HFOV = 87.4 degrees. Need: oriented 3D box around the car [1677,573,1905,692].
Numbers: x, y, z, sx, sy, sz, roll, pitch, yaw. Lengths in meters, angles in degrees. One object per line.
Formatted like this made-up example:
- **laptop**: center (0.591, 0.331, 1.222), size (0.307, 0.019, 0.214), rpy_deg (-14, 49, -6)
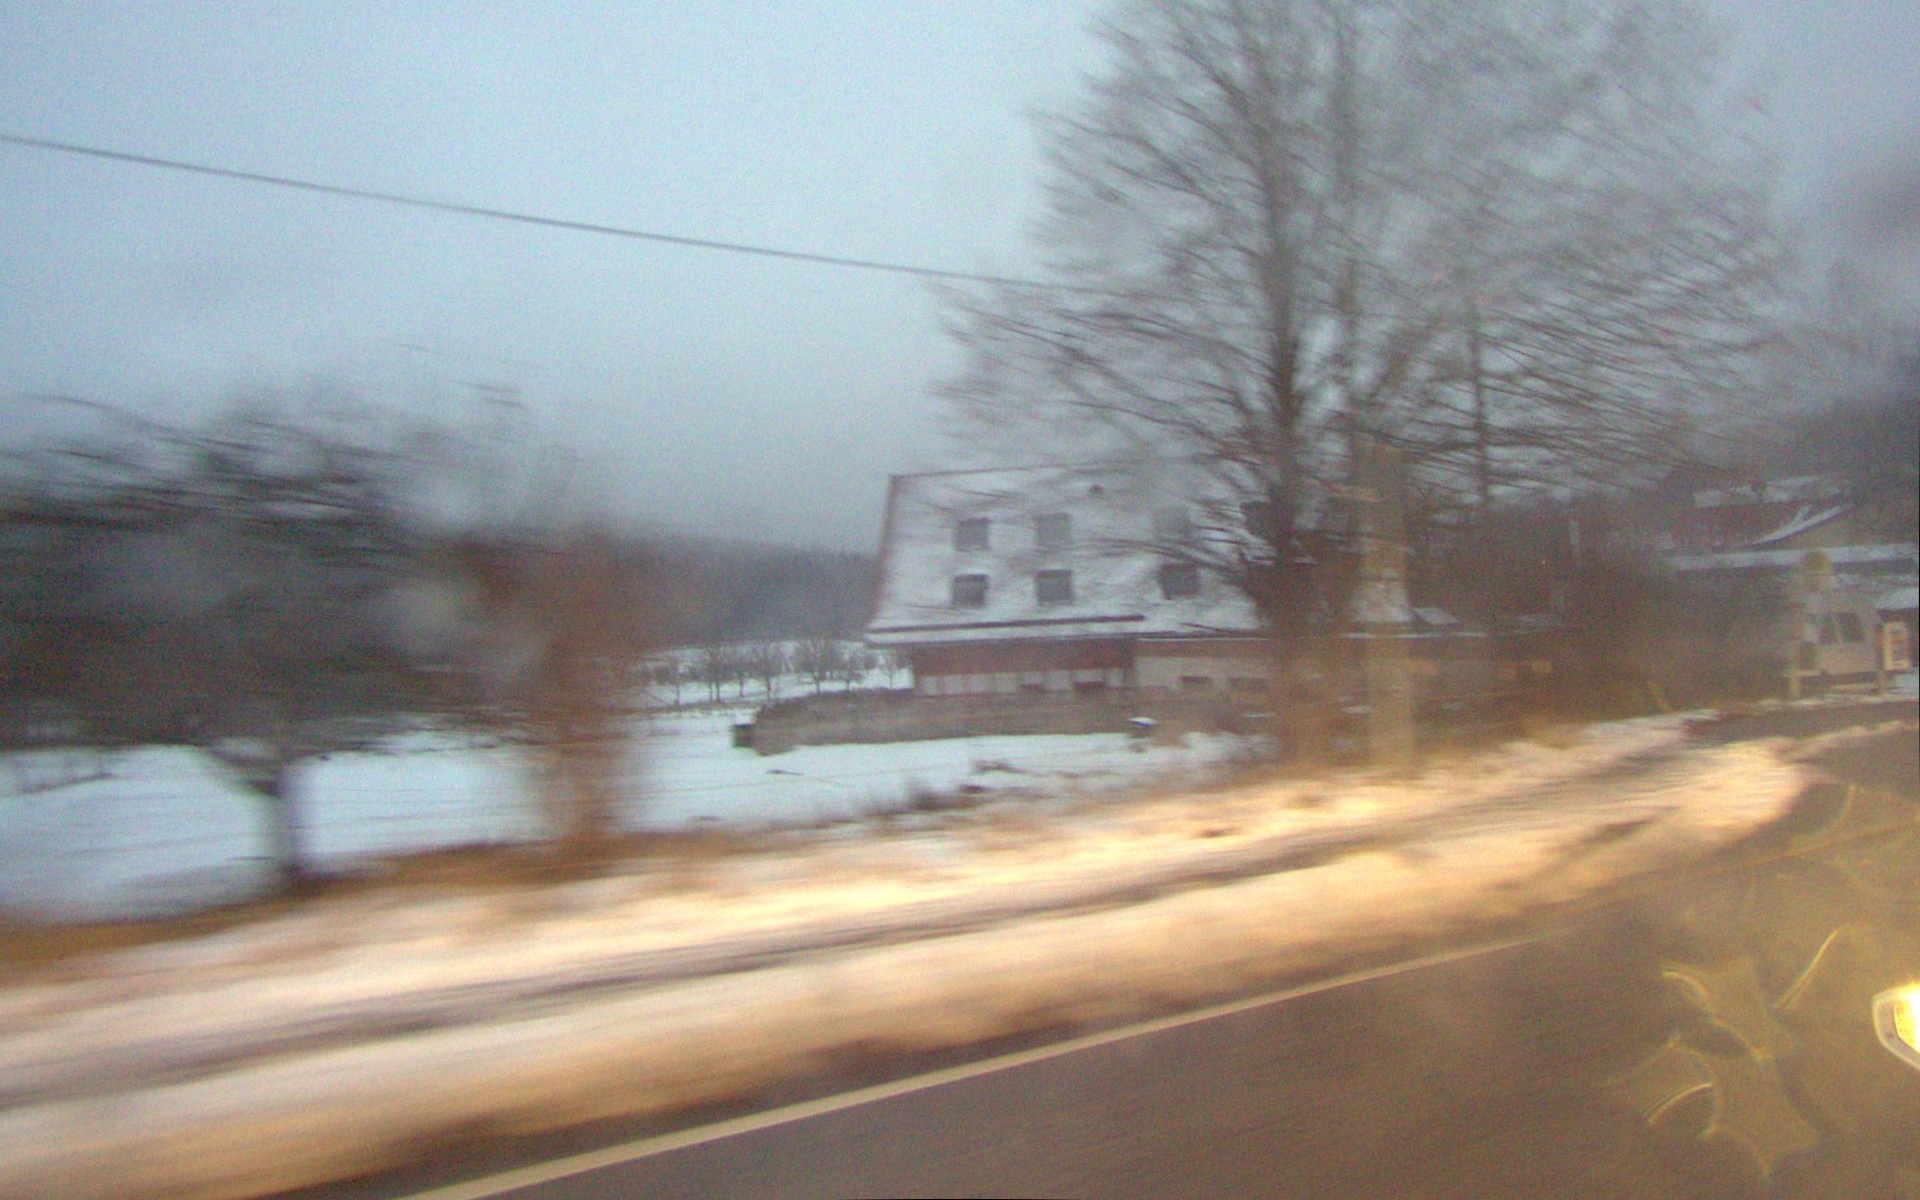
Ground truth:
- **car**: center (20.415, 0.747, 24.595), size (6.157, 2.605, 2.457), rpy_deg (0, -1, -32)
